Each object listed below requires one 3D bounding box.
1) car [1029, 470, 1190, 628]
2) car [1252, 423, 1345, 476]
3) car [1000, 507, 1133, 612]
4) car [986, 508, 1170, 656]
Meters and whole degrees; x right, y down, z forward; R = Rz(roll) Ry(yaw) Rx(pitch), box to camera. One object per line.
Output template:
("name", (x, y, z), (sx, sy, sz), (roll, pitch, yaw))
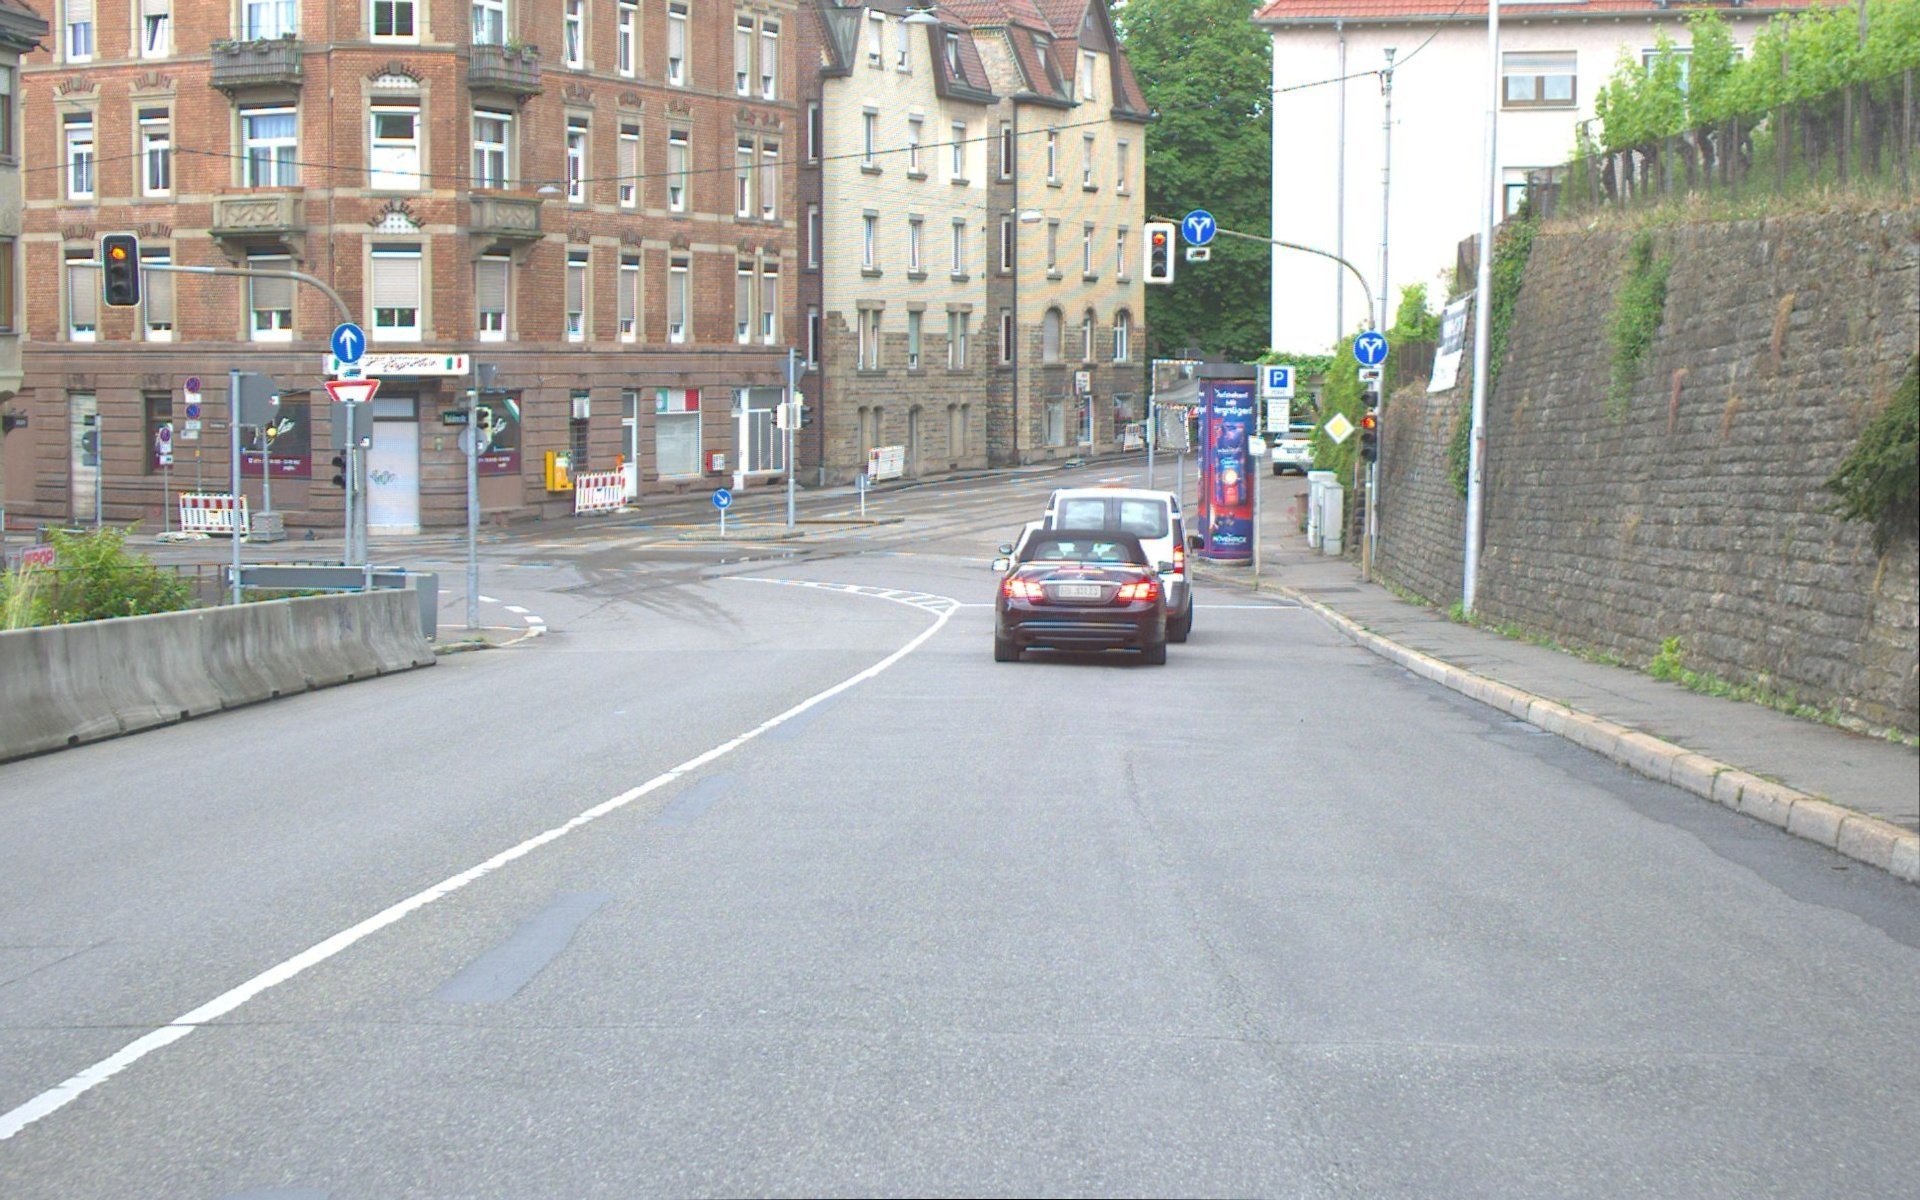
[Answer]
("car", (1.885, -0.669, 43.742), (1.909, 1.877, 4.000), (1, 1, 2))
("car", (11.150, -4.959, 112.981), (1.843, 1.696, 3.995), (2, 3, 24))
("car", (1.580, -0.628, 50.568), (1.841, 1.436, 4.000), (1, 1, 2))
("car", (1.261, -0.234, 36.725), (1.816, 1.425, 4.000), (1, 2, 2))
